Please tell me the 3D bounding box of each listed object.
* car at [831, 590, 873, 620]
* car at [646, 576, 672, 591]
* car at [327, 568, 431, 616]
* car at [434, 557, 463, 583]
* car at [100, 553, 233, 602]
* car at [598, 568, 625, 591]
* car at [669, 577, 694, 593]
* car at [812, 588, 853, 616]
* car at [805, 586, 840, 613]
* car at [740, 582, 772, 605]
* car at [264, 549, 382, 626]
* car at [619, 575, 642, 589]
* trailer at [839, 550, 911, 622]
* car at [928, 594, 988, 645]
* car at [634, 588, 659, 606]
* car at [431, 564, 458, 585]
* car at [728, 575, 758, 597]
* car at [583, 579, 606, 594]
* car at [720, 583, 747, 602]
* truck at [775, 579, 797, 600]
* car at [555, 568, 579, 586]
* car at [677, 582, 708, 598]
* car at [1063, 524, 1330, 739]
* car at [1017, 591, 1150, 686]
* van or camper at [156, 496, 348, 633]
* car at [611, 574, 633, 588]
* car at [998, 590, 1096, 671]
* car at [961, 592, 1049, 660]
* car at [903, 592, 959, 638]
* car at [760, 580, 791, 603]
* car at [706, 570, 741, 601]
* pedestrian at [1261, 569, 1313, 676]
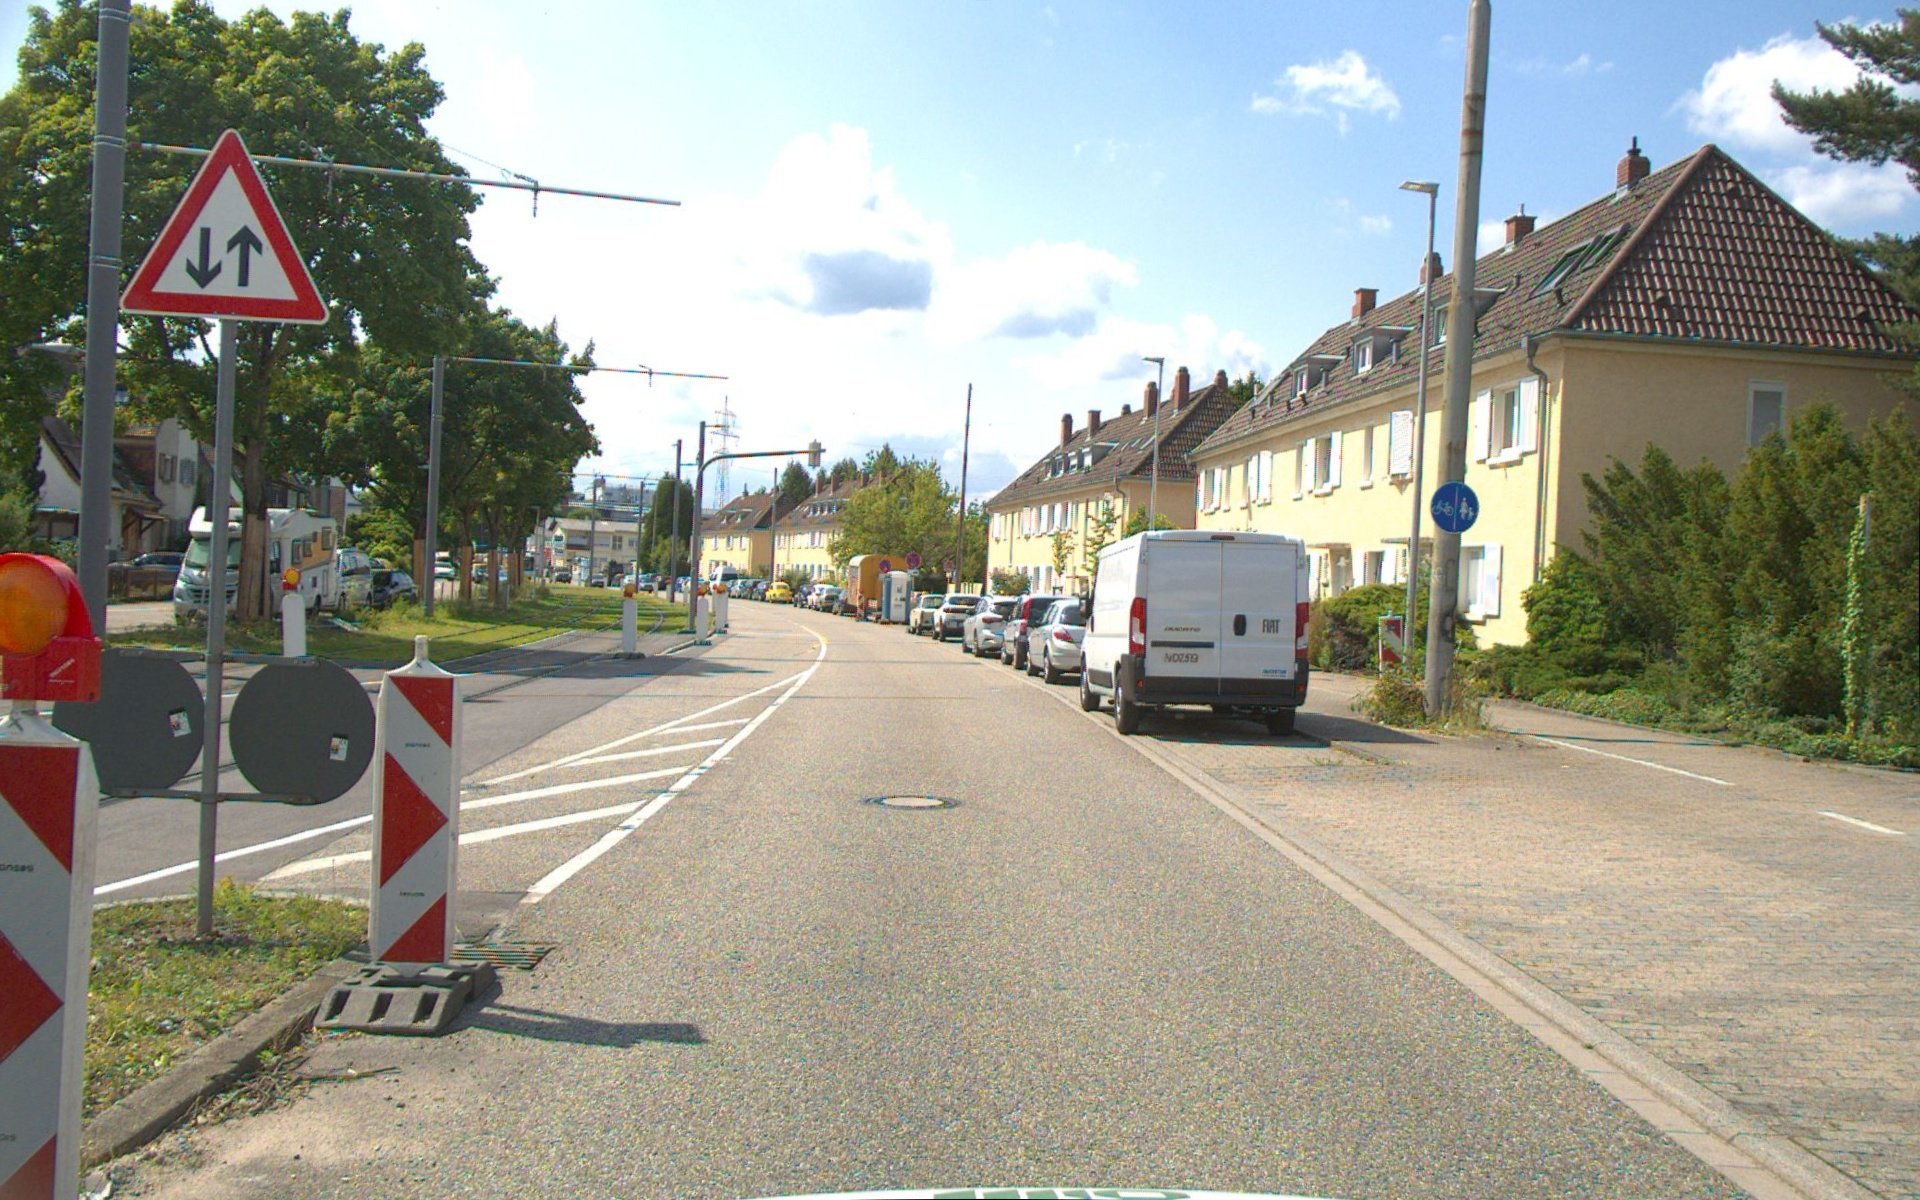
[{"bbox_3d":[-5.823,0.251,88.610,1.550,1.474,4.439,2,0,-13],"label":"car"},{"bbox_3d":[-30.432,-1.636,167.070,1.740,1.442,3.973,1,1,-22],"label":"car"},{"bbox_3d":[-18.913,-0.265,54.058,1.815,1.411,4.806,3,0,-2],"label":"car"},{"bbox_3d":[-57.327,-3.382,185.279,2.049,2.768,6.943,0,1,-26],"label":"car"},{"bbox_3d":[-28.800,-0.815,60.155,3.917,1.557,1.868,3,0,-12],"label":"car"},{"bbox_3d":[-40.597,-2.393,192.347,1.933,2.522,6.016,1,1,-23],"label":"car"},{"bbox_3d":[-26.757,-1.444,158.771,1.598,1.442,3.973,1,1,-22],"label":"car"},{"bbox_3d":[-7.441,0.076,96.304,1.677,1.474,4.820,2,0,-13],"label":"car"},{"bbox_3d":[-8.437,-0.032,101.289,1.550,1.539,4.445,2,0,-13],"label":"car"},{"bbox_3d":[-15.883,-0.512,128.512,1.612,1.630,3.909,3,0,-20],"label":"car"},{"bbox_3d":[-18.602,-0.364,48.557,1.955,2.049,4.897,3,0,-6],"label":"car"},{"bbox_3d":[-36.232,-1.985,182.036,1.740,1.465,3.973,1,1,-22],"label":"car"},{"bbox_3d":[-4.176,-0.695,80.309,2.642,3.283,5.068,2,0,-12],"label":"trailer"},{"bbox_3d":[-0.098,0.580,52.536,1.498,1.507,3.804,2,0,-6],"label":"car"},{"bbox_3d":[-27.652,-0.277,145.681,1.640,1.474,3.939,0,1,-18],"label":"car"},{"bbox_3d":[-47.835,-2.360,153.548,1.848,1.799,5.068,2,0,-12],"label":"car"},{"bbox_3d":[-17.358,-1.112,132.213,1.611,1.630,4.009,3,0,-18],"label":"car"},{"bbox_3d":[-37.464,-1.376,169.310,1.699,1.413,4.097,2,0,-21],"label":"car"},{"bbox_3d":[-18.747,-0.626,136.809,1.512,1.470,3.718,3,0,-18],"label":"car"},{"bbox_3d":[-14.894,-0.904,141.241,1.325,1.718,2.428,2,0,-18],"label":"truck"},{"bbox_3d":[-44.975,-2.609,189.155,1.927,2.000,5.260,2,1,-21],"label":"car"},{"bbox_3d":[-24.949,-0.942,153.917,1.774,1.483,4.731,0,0,-23],"label":"car"},{"bbox_3d":[2.733,0.319,20.870,2.231,2.221,6.366,2,0,-2],"label":"car"},{"bbox_3d":[2.158,0.642,29.938,1.674,1.530,4.250,2,0,-6],"label":"car"},{"bbox_3d":[-17.531,-0.834,41.463,2.330,3.022,7.285,2,0,-7],"label":"van or camper"},{"bbox_3d":[-38.145,-2.103,186.672,1.740,1.528,3.973,1,1,-22],"label":"car"},{"bbox_3d":[1.779,0.604,34.899,1.596,1.577,3.806,2,0,-4],"label":"car"},{"bbox_3d":[1.049,0.598,40.644,1.715,1.524,4.382,2,0,-4],"label":"car"},{"bbox_3d":[-1.052,0.500,58.763,1.436,1.528,4.101,2,0,-8],"label":"car"},{"bbox_3d":[-13.193,-0.630,118.135,1.610,1.508,3.915,0,2,-16],"label":"car"},{"bbox_3d":[-20.325,-1.287,141.902,1.900,2.524,5.487,1,0,-19],"label":"car"},{"bbox_3d":[6.401,0.430,32.419,0.757,2.049,0.761,2,0,-4],"label":"pedestrian"}]
